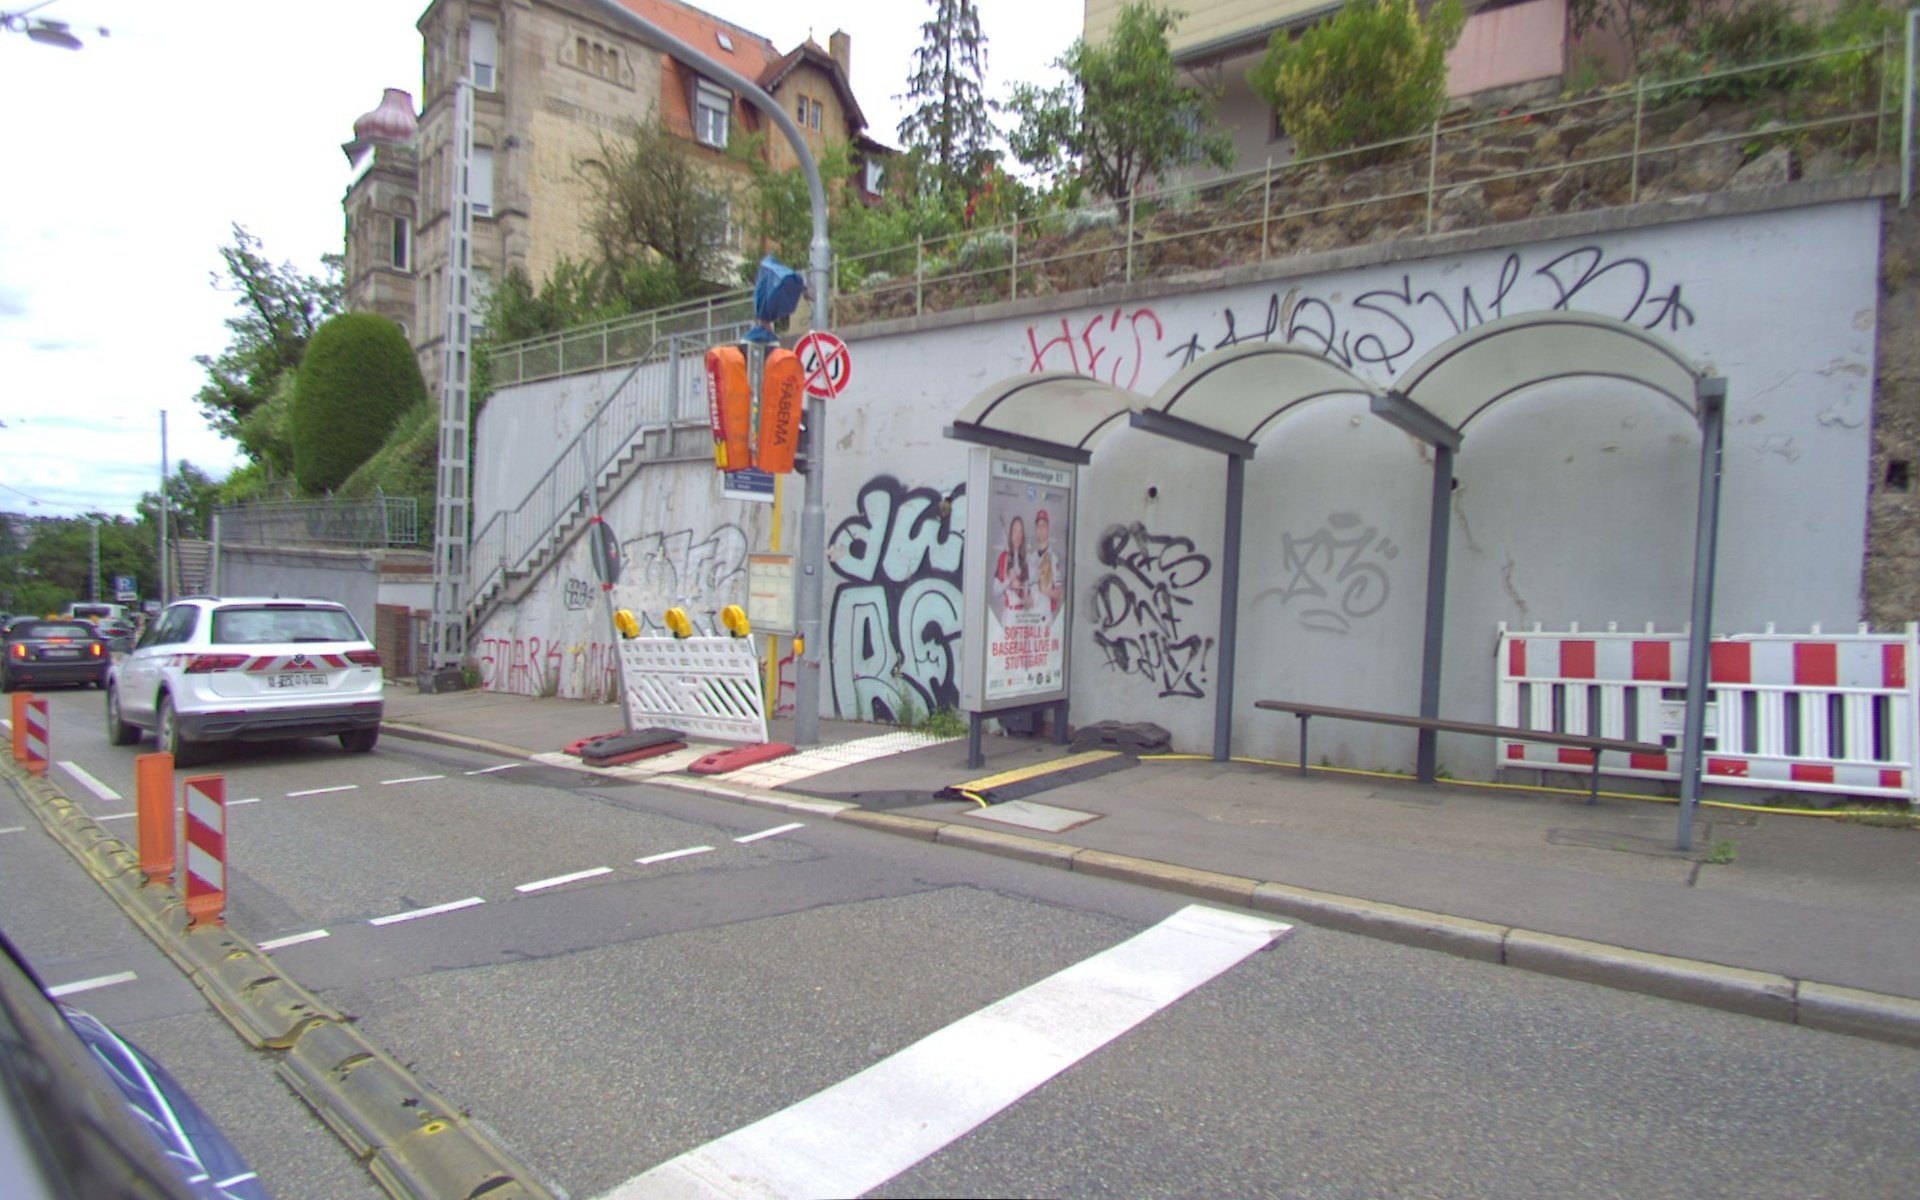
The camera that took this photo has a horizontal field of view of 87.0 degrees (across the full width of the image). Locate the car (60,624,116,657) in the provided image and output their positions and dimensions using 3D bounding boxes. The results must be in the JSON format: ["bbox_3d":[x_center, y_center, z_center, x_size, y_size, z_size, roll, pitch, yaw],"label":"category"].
[{"bbox_3d":[-38.954,1.798,45.261,1.776,1.383,4.395,4,-3,-40],"label":"car"}]

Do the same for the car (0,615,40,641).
[{"bbox_3d":[-59.811,1.765,64.161,1.771,1.522,4.009,3,-2,-37],"label":"car"}]

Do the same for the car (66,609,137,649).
[{"bbox_3d":[-50.234,1.703,59.343,2.038,2.204,4.978,2,-3,-27],"label":"car"}]

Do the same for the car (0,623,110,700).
[{"bbox_3d":[-19.003,1.219,20.998,3.588,1.441,1.653,-1,-2,43],"label":"car"}]

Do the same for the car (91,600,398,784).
[{"bbox_3d":[-7.877,0.833,10.981,4.262,1.612,1.822,-1,-1,42],"label":"car"}]
